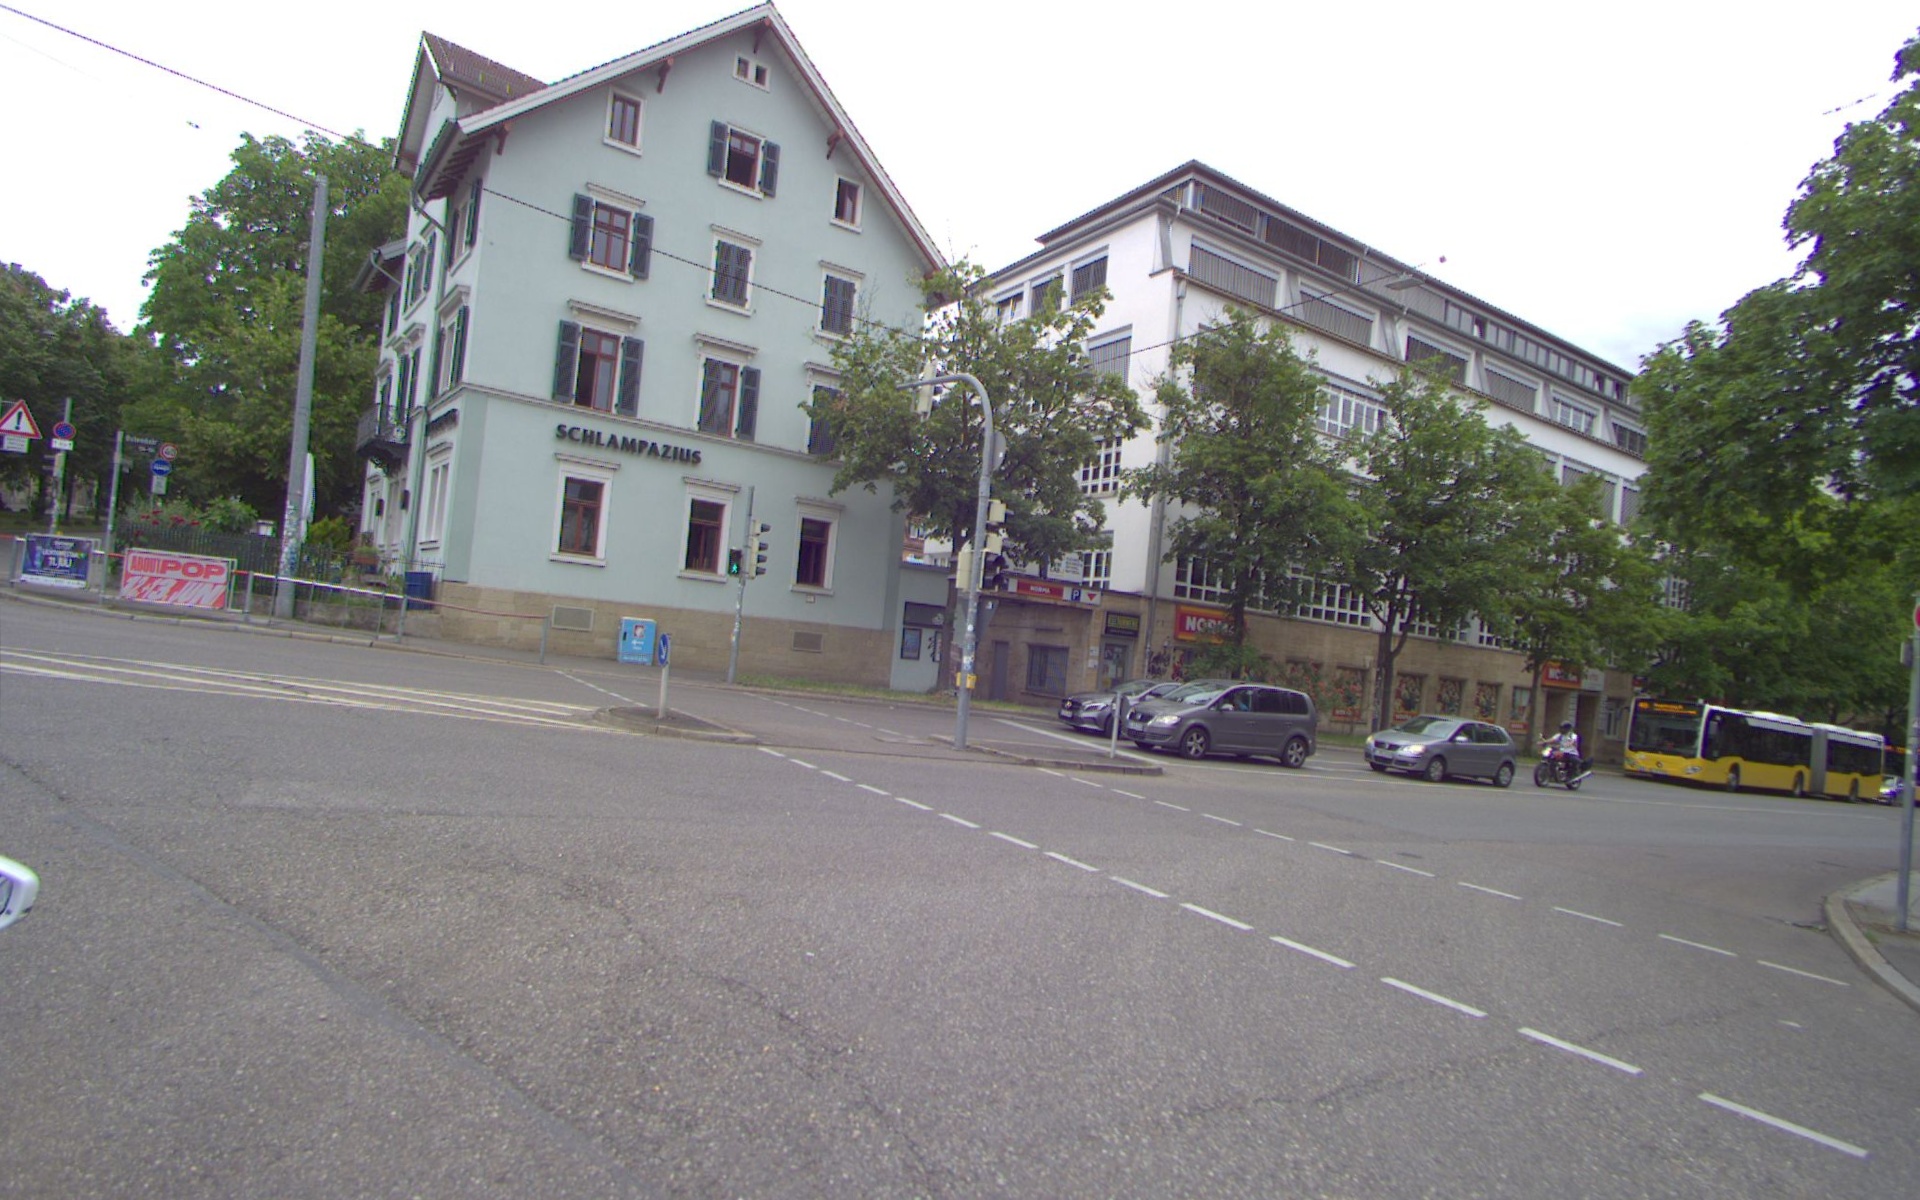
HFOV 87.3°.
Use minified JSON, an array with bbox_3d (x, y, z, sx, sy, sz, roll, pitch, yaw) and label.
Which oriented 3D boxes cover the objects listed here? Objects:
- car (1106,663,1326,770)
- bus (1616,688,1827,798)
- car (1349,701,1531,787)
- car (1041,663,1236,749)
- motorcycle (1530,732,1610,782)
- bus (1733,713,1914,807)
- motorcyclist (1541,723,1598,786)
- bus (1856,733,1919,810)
[{"bbox_3d":[5.286,2.397,20.692,4.148,1.657,1.701,9,-3,-25],"label":"car"},{"bbox_3d":[29.013,5.496,38.103,10.303,3.144,2.839,9,-2,-33],"label":"bus"},{"bbox_3d":[10.960,3.293,22.954,3.746,1.438,1.655,9,-2,-25],"label":"car"},{"bbox_3d":[4.178,2.474,23.435,4.148,1.440,1.700,9,-2,-25],"label":"car"},{"bbox_3d":[15.433,3.978,25.427,2.374,0.998,0.633,10,-2,-31],"label":"motorcycle"},{"bbox_3d":[37.771,7.059,43.812,10.827,3.084,2.856,9,-2,-33],"label":"bus"},{"bbox_3d":[15.382,3.901,25.387,1.000,1.434,0.703,8,-1,-31],"label":"motorcyclist"},{"bbox_3d":[51.466,9.281,52.639,12.715,3.380,3.416,9,-2,-33],"label":"bus"}]
